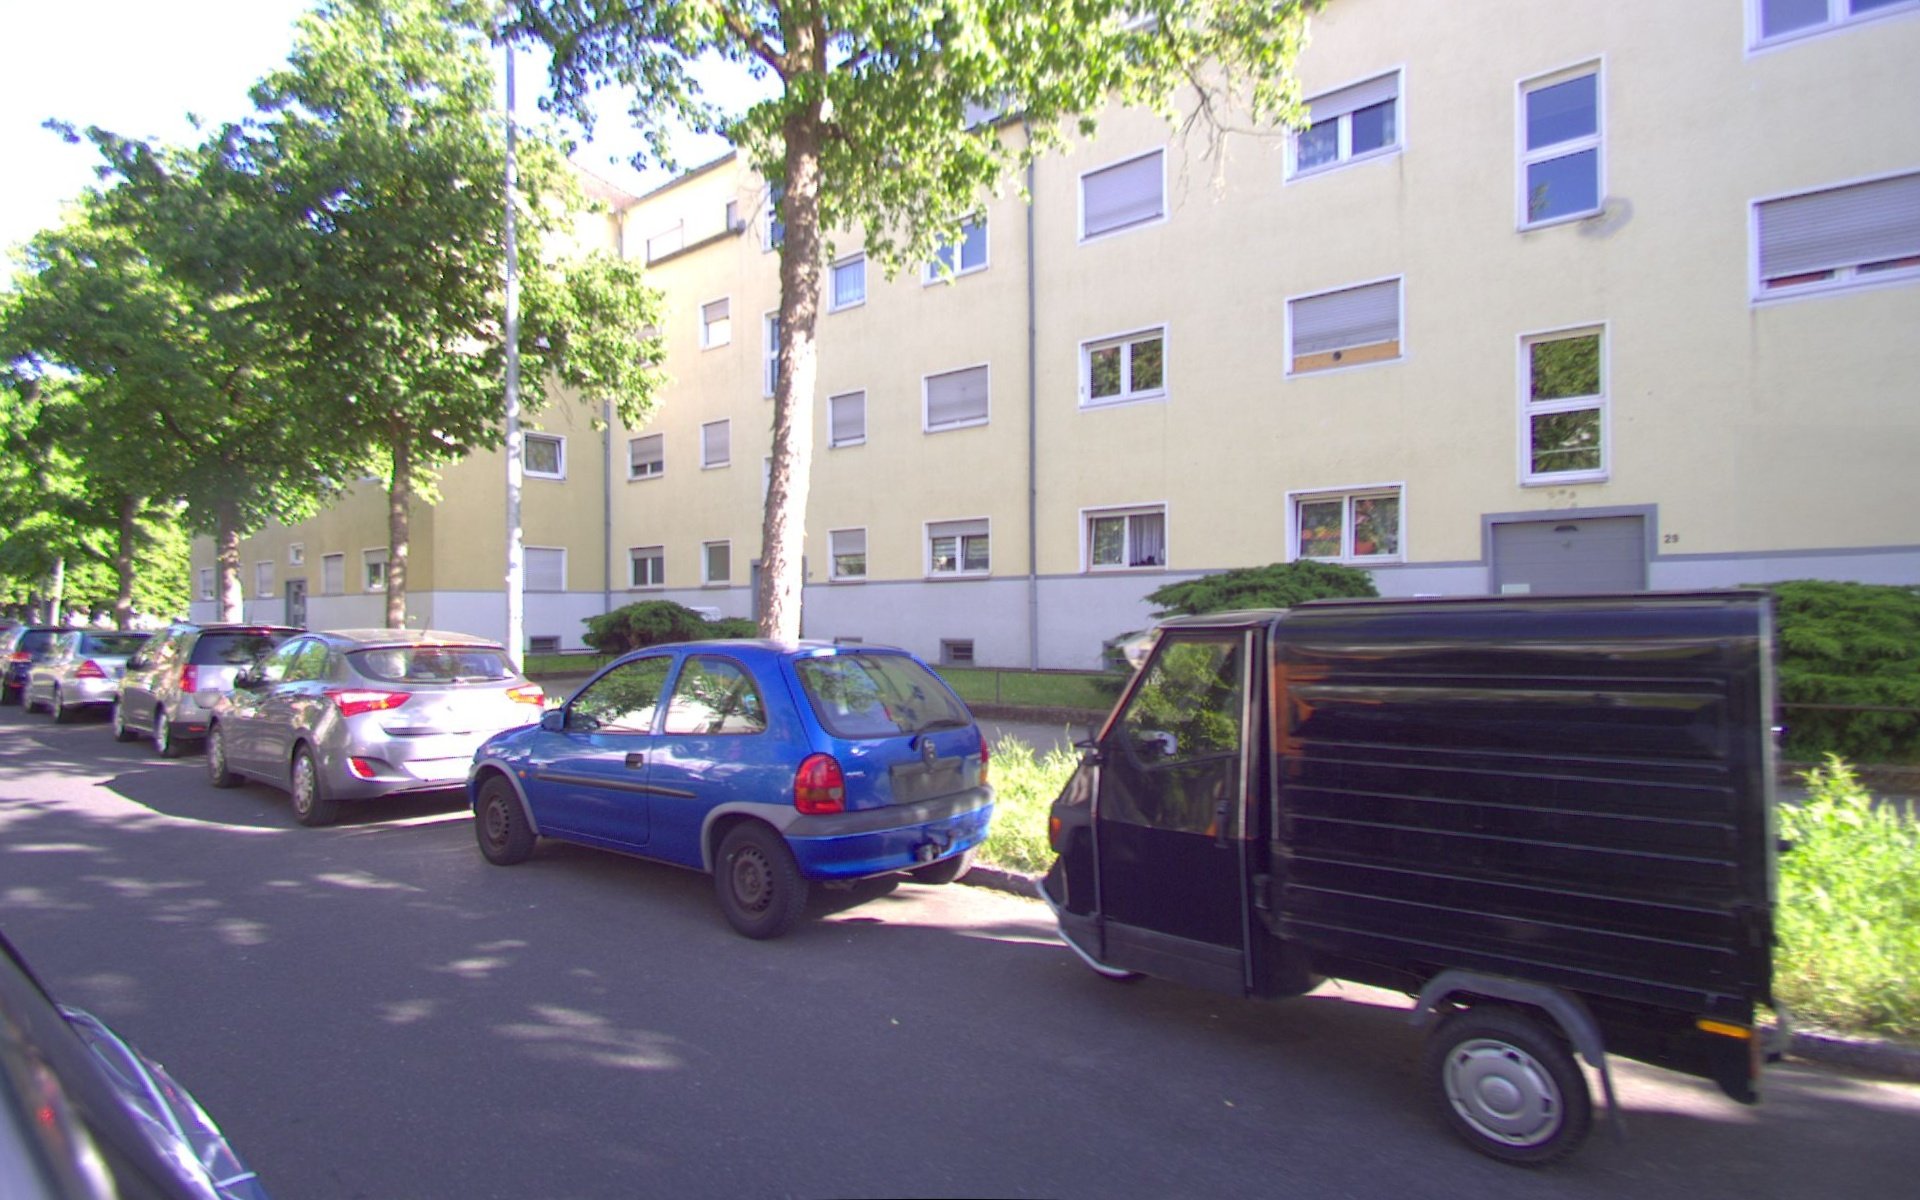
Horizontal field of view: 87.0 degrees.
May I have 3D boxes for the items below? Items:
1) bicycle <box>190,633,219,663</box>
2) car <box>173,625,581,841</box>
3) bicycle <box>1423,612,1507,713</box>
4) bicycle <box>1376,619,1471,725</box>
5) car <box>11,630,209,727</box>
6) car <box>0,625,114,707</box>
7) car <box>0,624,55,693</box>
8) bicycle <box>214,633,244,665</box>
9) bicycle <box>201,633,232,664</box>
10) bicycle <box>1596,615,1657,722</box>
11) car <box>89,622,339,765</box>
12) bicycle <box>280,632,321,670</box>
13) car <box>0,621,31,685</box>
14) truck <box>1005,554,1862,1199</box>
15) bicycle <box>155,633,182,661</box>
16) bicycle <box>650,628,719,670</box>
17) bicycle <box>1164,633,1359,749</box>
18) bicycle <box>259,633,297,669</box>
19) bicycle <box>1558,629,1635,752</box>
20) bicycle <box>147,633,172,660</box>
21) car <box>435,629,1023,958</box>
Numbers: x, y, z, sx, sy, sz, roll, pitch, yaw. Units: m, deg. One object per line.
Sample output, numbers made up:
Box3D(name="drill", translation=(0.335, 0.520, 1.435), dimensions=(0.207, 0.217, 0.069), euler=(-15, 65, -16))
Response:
Box3D(name="bicycle", translation=(-26.289, 1.670, 35.214), dimensions=(1.680, 1.008, 0.430), euler=(-2, -2, 41))
Box3D(name="car", translation=(-5.412, 0.975, 9.085), dimensions=(4.686, 1.455, 1.772), euler=(-2, -3, 42))
Box3D(name="bicycle", translation=(6.537, 0.767, 13.060), dimensions=(0.486, 1.154, 1.819), euler=(0, 2, 43))
Box3D(name="bicycle", translation=(5.530, 0.810, 12.027), dimensions=(0.486, 1.089, 1.819), euler=(0, 2, 43))
Box3D(name="car", translation=(-14.098, 1.196, 16.692), dimensions=(4.670, 1.379, 1.727), euler=(-1, -2, 40))
Box3D(name="car", translation=(-18.335, 1.256, 20.156), dimensions=(3.929, 1.470, 1.648), euler=(-2, -2, 40))
Box3D(name="car", translation=(-22.152, 1.315, 23.220), dimensions=(3.254, 1.497, 1.648), euler=(-2, -2, 40))
Box3D(name="bicycle", translation=(-23.688, 1.582, 32.795), dimensions=(1.545, 1.008, 0.509), euler=(-2, -2, 44))
Box3D(name="bicycle", translation=(-24.920, 1.619, 33.919), dimensions=(1.544, 1.008, 0.506), euler=(-2, -2, 41))
Box3D(name="bicycle", translation=(7.950, 0.770, 12.049), dimensions=(0.486, 1.089, 1.823), euler=(3, 3, 36))
Box3D(name="car", translation=(-9.571, 1.076, 12.857), dimensions=(4.266, 1.527, 1.603), euler=(-1, -4, 41))
Box3D(name="bicycle", translation=(-18.999, 1.457, 29.147), dimensions=(1.747, 1.034, 0.530), euler=(-2, -2, 42))
Box3D(name="car", translation=(-25.659, 1.357, 26.166), dimensions=(4.729, 1.577, 1.675), euler=(-2, -2, 38))
Box3D(name="truck", translation=(1.433, 0.723, 3.460), dimensions=(2.431, 1.589, 1.072), euler=(-2, -2, 42))
Box3D(name="bicycle", translation=(-29.516, 1.735, 37.737), dimensions=(1.544, 1.008, 0.470), euler=(-2, -2, 41))
Box3D(name="bicycle", translation=(-6.429, 1.135, 23.677), dimensions=(0.480, 0.938, 1.617), euler=(-1, -2, 37))
Box3D(name="bicycle", translation=(3.015, 0.891, 10.210), dimensions=(1.829, 1.089, 0.484), euler=(-1, 1, 16))
Box3D(name="bicycle", translation=(-20.477, 1.510, 30.389), dimensions=(1.747, 1.034, 0.534), euler=(-2, -2, 42))
Box3D(name="bicycle", translation=(6.312, 0.837, 10.001), dimensions=(0.486, 1.089, 1.822), euler=(-1, -2, 36))
Box3D(name="bicycle", translation=(-30.736, 1.774, 38.837), dimensions=(1.544, 1.008, 0.471), euler=(-2, -2, 41))
Box3D(name="car", translation=(-1.566, 0.883, 6.142), dimensions=(3.722, 1.406, 1.506), euler=(-1, -2, 39))
